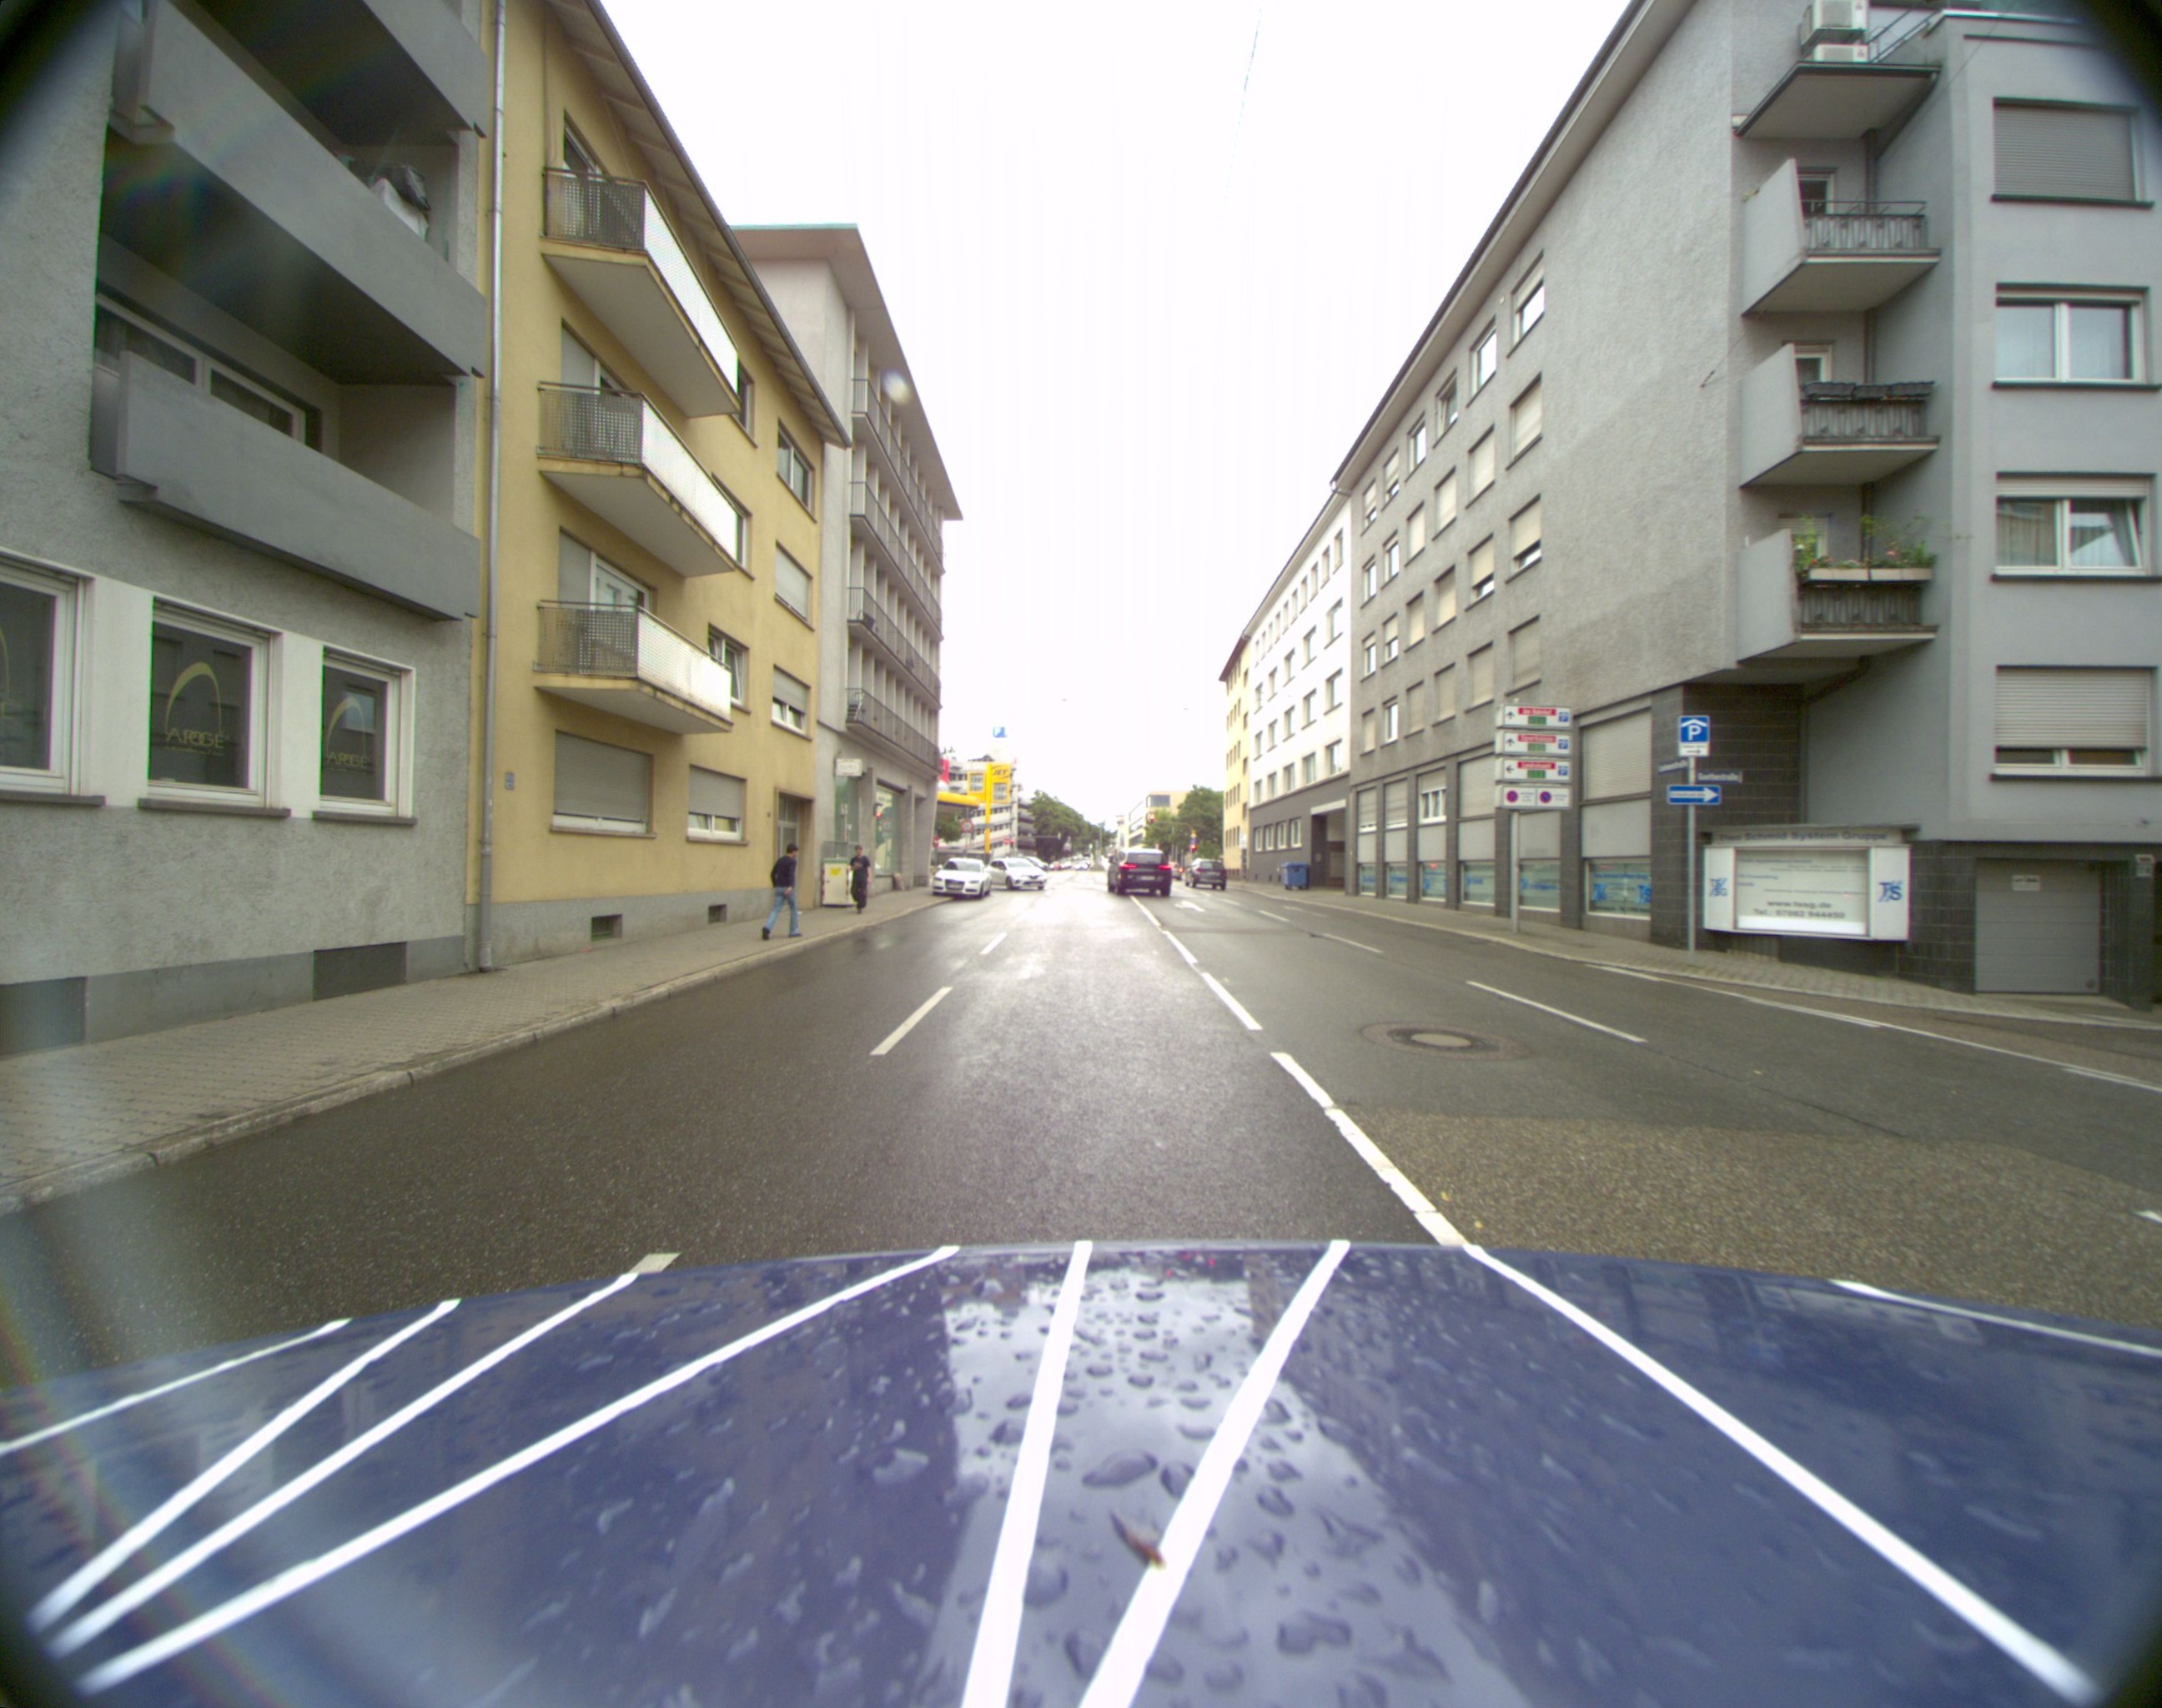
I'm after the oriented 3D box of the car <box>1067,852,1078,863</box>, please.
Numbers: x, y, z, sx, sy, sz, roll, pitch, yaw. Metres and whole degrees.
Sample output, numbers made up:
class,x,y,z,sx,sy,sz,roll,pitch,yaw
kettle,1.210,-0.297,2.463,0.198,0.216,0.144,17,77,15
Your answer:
class,x,y,z,sx,sy,sz,roll,pitch,yaw
car,-1.566,0.712,148.397,1.998,2.002,3.999,-2,1,0

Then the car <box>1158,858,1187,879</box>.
class,x,y,z,sx,sy,sz,roll,pitch,yaw
car,7.410,1.152,62.124,1.883,1.580,4.373,0,0,1

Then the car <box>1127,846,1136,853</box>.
class,x,y,z,sx,sy,sz,roll,pitch,yaw
car,12.841,-1.124,192.885,1.998,1.683,4.000,-2,1,2

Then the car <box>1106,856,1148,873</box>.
class,x,y,z,sx,sy,sz,roll,pitch,yaw
car,4.389,1.003,72.807,3.996,1.499,1.738,1,1,2

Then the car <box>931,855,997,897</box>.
class,x,y,z,sx,sy,sz,roll,pitch,yaw
car,-4.371,0.788,29.059,1.803,1.427,4.166,1,0,1

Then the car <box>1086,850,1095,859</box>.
class,x,y,z,sx,sy,sz,roll,pitch,yaw
car,2.201,0.028,178.965,1.998,2.002,3.999,-2,1,1

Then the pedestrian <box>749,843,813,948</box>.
class,x,y,z,sx,sy,sz,roll,pitch,yaw
pedestrian,-5.333,0.711,13.565,0.644,1.768,1.056,3,1,0

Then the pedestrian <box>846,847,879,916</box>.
class,x,y,z,sx,sy,sz,roll,pitch,yaw
pedestrian,-5.677,0.691,19.767,0.679,1.745,0.887,1,1,-6

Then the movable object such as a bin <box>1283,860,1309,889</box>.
class,x,y,z,sx,sy,sz,roll,pitch,yaw
movable object such as a bin,10.396,0.989,36.776,0.946,1.325,1.096,-3,1,1

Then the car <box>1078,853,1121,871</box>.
class,x,y,z,sx,sy,sz,roll,pitch,yaw
car,1.857,0.769,76.043,3.994,1.751,2.001,1,1,9

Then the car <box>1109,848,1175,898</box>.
class,x,y,z,sx,sy,sz,roll,pitch,yaw
car,2.265,0.654,29.539,2.132,1.711,4.817,2,0,0

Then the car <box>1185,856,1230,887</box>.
class,x,y,z,sx,sy,sz,roll,pitch,yaw
car,6.706,0.904,40.697,1.707,1.498,4.159,3,0,0

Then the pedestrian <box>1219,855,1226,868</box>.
class,x,y,z,sx,sy,sz,roll,pitch,yaw
pedestrian,13.007,0.667,69.849,0.582,1.143,0.407,3,1,2

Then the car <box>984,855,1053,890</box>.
class,x,y,z,sx,sy,sz,roll,pitch,yaw
car,-2.966,0.850,35.406,1.774,1.465,3.991,-3,0,-27

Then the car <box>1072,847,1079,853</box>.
class,x,y,z,sx,sy,sz,roll,pitch,yaw
car,-1.902,-1.368,257.720,1.998,1.827,3.999,-2,1,1

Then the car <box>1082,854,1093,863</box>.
class,x,y,z,sx,sy,sz,roll,pitch,yaw
car,1.210,0.940,153.193,1.999,1.736,3.998,-2,1,-2
